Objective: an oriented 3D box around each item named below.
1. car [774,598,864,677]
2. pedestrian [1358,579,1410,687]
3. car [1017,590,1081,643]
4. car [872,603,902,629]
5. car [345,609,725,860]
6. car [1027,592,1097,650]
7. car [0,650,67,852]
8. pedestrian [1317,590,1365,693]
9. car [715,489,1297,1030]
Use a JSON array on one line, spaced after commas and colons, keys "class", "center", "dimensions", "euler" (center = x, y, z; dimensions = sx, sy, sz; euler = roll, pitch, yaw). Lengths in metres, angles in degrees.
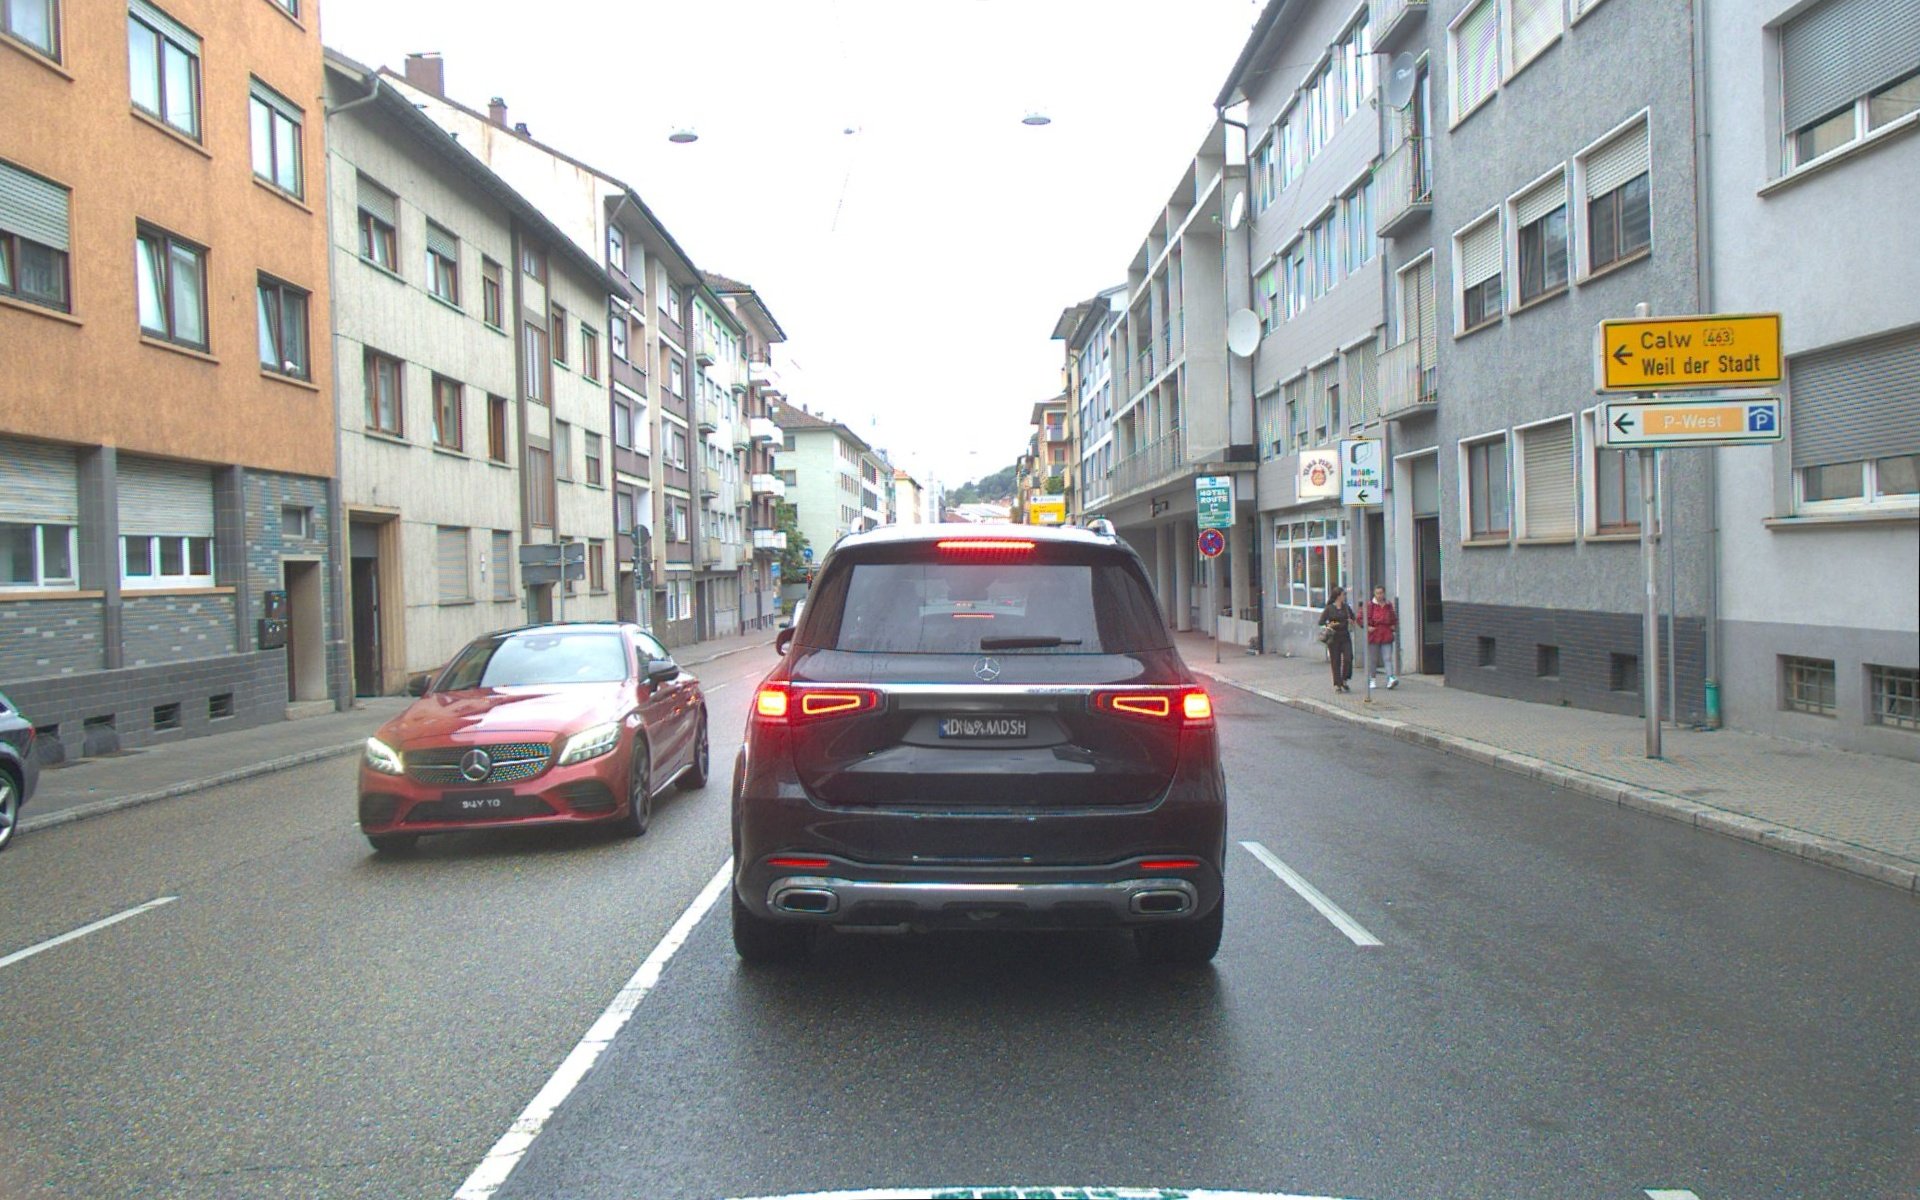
[{"class": "car", "center": [-3.199, 0.817, 38.206], "dimensions": [1.698, 1.602, 4.010], "euler": [-5, 0, -1]}, {"class": "pedestrian", "center": [6.507, 0.504, 25.375], "dimensions": [0.549, 1.606, 0.526], "euler": [-4, 0, -2]}, {"class": "car", "center": [3.140, 0.559, 59.273], "dimensions": [1.901, 1.806, 4.744], "euler": [0, 0, -2]}, {"class": "car", "center": [-4.512, 0.965, 102.603], "dimensions": [1.615, 1.464, 4.124], "euler": [-3, 0, -1]}, {"class": "car", "center": [-2.896, 0.831, 12.248], "dimensions": [1.690, 1.414, 4.338], "euler": [-3, 0, -1]}, {"class": "car", "center": [2.935, 0.577, 48.109], "dimensions": [1.731, 1.608, 3.999], "euler": [0, 0, -1]}, {"class": "car", "center": [-7.965, 1.127, 10.899], "dimensions": [1.759, 1.463, 4.525], "euler": [1, 0, -1]}, {"class": "pedestrian", "center": [5.822, 0.627, 25.304], "dimensions": [0.496, 1.526, 0.562], "euler": [-4, 0, -2]}, {"class": "car", "center": [0.120, 0.551, 7.720], "dimensions": [1.984, 1.837, 3.999], "euler": [1, 0, -1]}]
